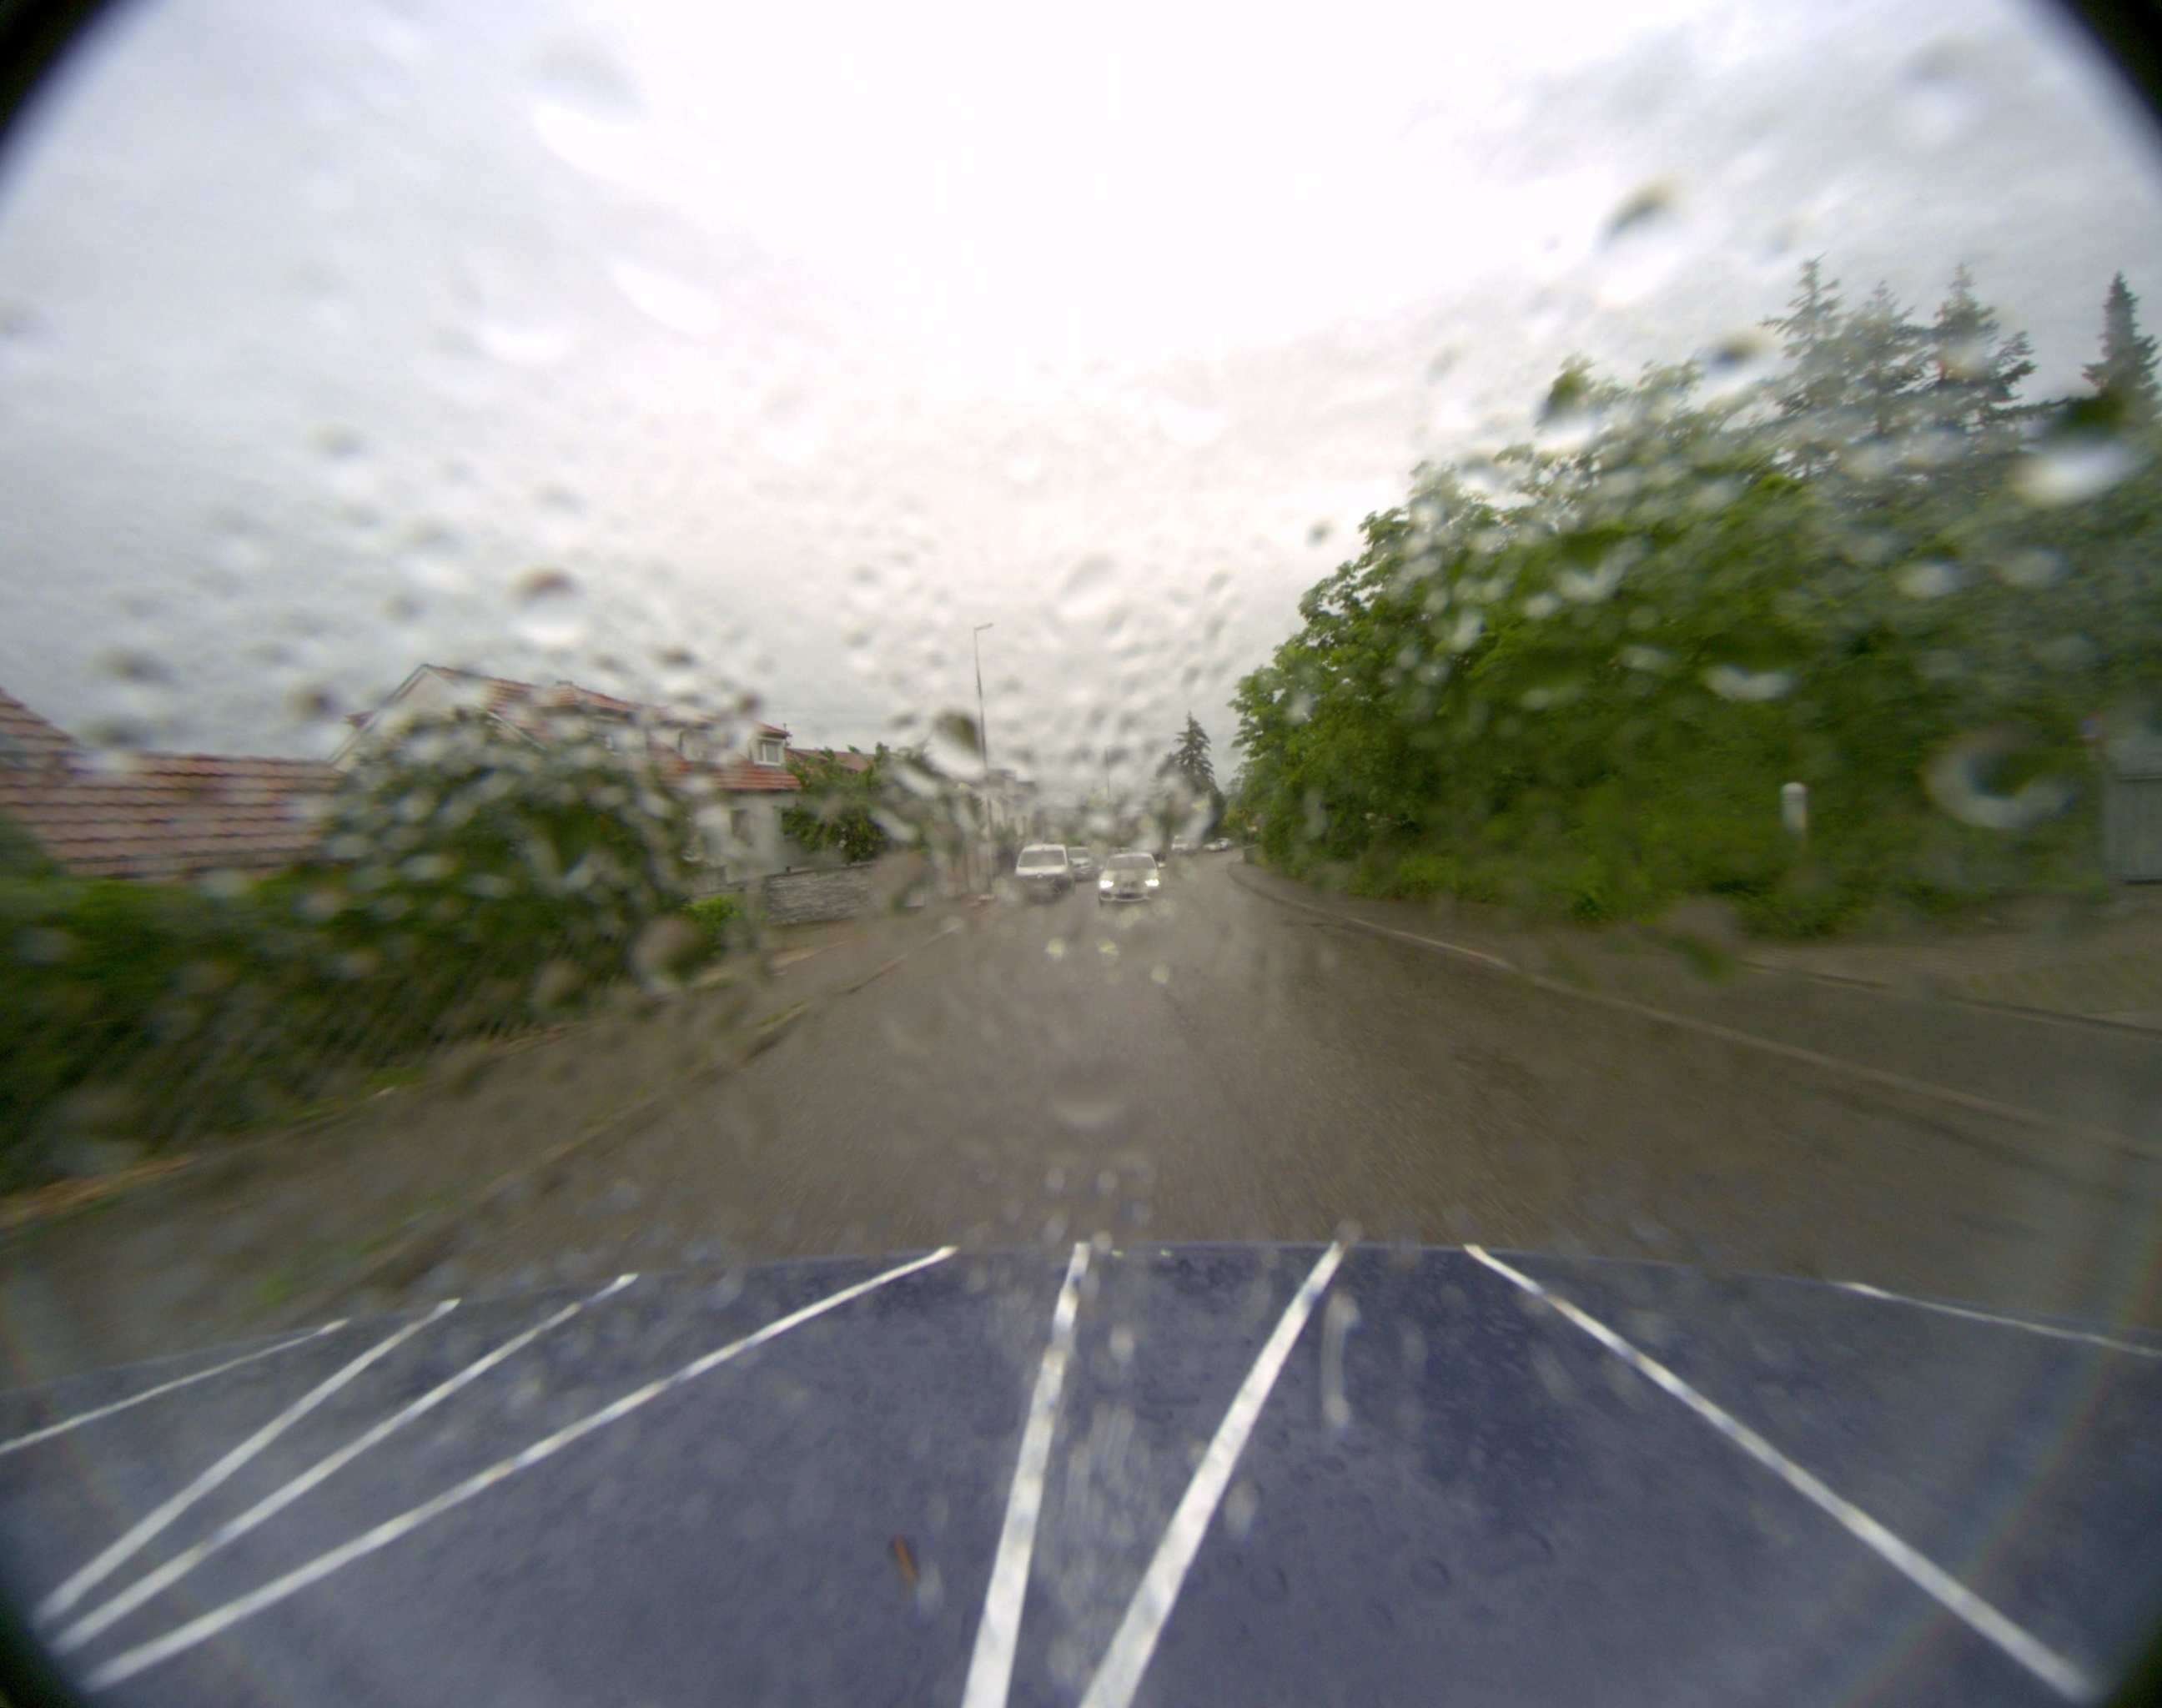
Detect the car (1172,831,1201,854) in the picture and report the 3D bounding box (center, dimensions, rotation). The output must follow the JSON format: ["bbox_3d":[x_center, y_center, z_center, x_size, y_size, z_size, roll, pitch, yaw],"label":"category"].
[{"bbox_3d":[12.656,-1.377,90.744,2.075,2.535,6.188,-1,2,19],"label":"car"}]

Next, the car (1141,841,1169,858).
[{"bbox_3d":[7.078,-0.434,72.463,1.860,1.518,5.068,0,1,15],"label":"car"}]

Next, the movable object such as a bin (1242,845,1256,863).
[{"bbox_3d":[10.587,-0.012,47.929,0.770,1.062,0.691,-2,2,6],"label":"movable object such as a bin"}]

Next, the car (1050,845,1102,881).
[{"bbox_3d":[-0.189,0.409,37.079,1.807,1.617,4.290,-1,1,10],"label":"car"}]

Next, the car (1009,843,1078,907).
[{"bbox_3d":[-1.117,0.594,24.770,1.783,1.793,4.706,-3,1,2],"label":"car"}]

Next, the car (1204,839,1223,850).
[{"bbox_3d":[18.476,-1.335,105.662,1.751,1.415,4.005,-1,2,23],"label":"car"}]

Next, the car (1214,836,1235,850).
[{"bbox_3d":[21.060,-1.636,111.079,1.866,1.808,4.869,-1,2,25],"label":"car"}]

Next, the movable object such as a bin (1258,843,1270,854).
[{"bbox_3d":[17.715,-0.508,73.470,0.781,1.022,0.718,-6,2,-32],"label":"movable object such as a bin"}]

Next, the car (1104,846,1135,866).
[{"bbox_3d":[3.075,0.095,59.567,1.771,1.459,4.238,0,1,12],"label":"car"}]

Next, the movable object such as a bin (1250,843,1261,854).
[{"bbox_3d":[17.132,-0.533,74.797,0.780,1.022,0.719,-5,2,-9],"label":"movable object such as a bin"}]

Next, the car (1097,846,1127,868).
[{"bbox_3d":[2.199,0.174,52.880,1.662,1.459,3.765,-1,1,9],"label":"car"}]

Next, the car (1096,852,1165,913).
[{"bbox_3d":[1.517,0.759,22.180,1.797,1.455,4.001,-2,1,6],"label":"car"}]
